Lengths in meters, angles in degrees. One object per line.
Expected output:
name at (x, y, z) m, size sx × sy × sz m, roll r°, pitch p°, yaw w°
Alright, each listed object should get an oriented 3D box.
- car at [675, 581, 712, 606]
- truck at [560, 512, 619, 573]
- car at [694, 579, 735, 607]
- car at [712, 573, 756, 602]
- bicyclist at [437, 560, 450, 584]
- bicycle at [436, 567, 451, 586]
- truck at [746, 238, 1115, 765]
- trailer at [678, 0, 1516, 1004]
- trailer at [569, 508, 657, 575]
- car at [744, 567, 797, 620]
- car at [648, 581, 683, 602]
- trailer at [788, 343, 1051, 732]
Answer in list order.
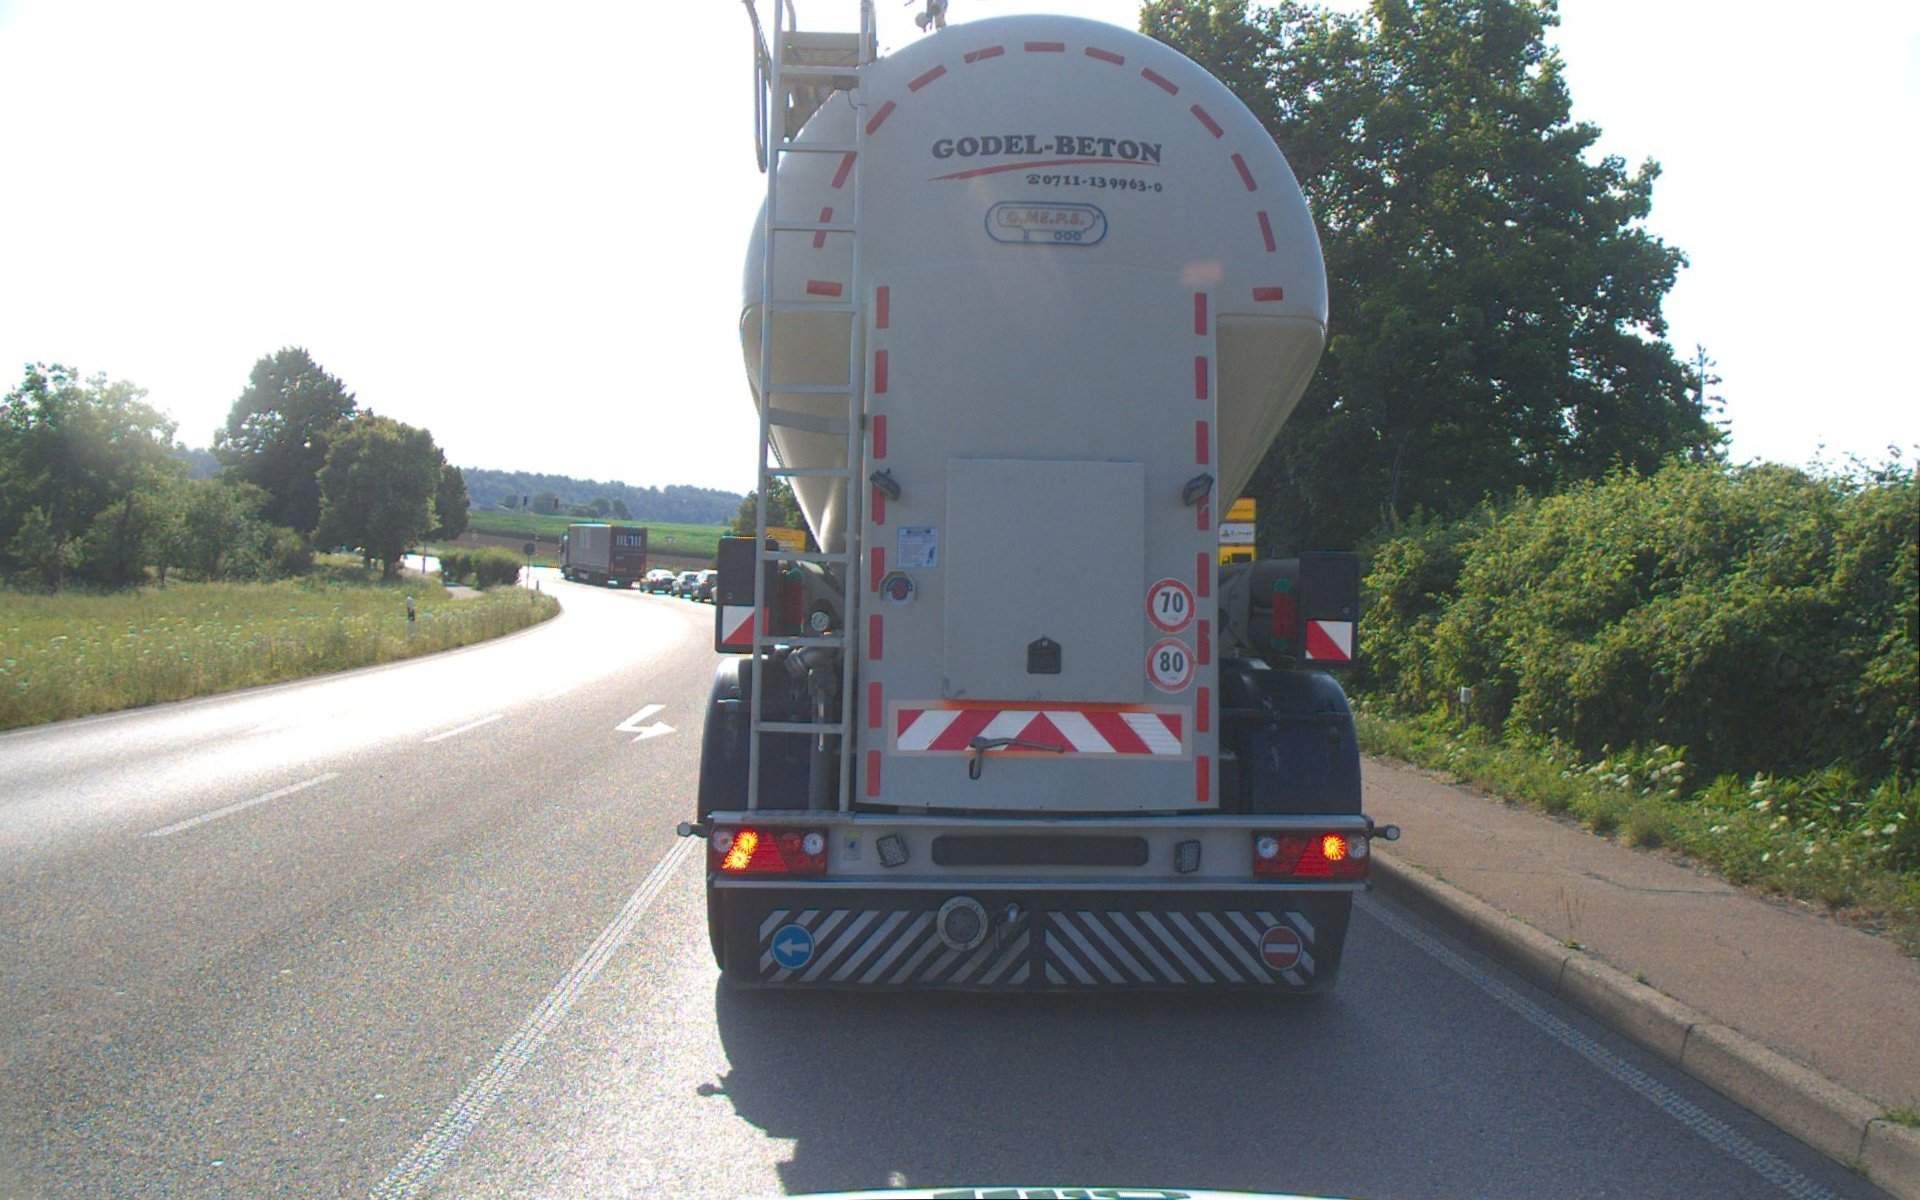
car at (-15.431, -0.388, 95.634) m, size 1.556 × 1.364 × 3.408 m, roll 2°, pitch 0°, yaw -18°
truck at (-28.463, -4.333, 126.873) m, size 3.331 × 4.426 × 5.664 m, roll 2°, pitch 0°, yaw -24°
car at (-12.995, -0.367, 87.459) m, size 1.556 × 1.364 × 3.408 m, roll 2°, pitch 0°, yaw -18°
car at (-11.143, -0.634, 81.315) m, size 1.556 × 1.364 × 3.408 m, roll 2°, pitch 0°, yaw -18°
bicyclist at (-31.782, -1.708, 101.772) m, size 0.623 × 1.444 × 0.689 m, roll 3°, pitch 0°, yaw -9°
bicycle at (-31.814, -1.452, 101.861) m, size 0.623 × 1.093 × 1.667 m, roll 3°, pitch 0°, yaw -9°
truck at (-0.421, -0.761, 15.010) m, size 2.853 × 4.076 × 4.054 m, roll 1°, pitch 0°, yaw -6°
trailer at (0.023, -0.706, 10.578) m, size 2.853 × 4.076 × 9.918 m, roll 1°, pitch 0°, yaw -6°
trailer at (-25.152, -4.128, 119.209) m, size 3.331 × 4.426 × 14.190 m, roll 2°, pitch 0°, yaw -23°
car at (-7.706, -0.274, 67.051) m, size 1.828 × 2.049 × 3.709 m, roll 1°, pitch 0°, yaw -11°
car at (-18.144, -0.554, 101.825) m, size 1.742 × 1.227 × 3.408 m, roll 0°, pitch 1°, yaw -18°
trailer at (-0.541, -0.774, 26.230) m, size 2.895 × 4.390 × 14.173 m, roll 2°, pitch 0°, yaw -1°
